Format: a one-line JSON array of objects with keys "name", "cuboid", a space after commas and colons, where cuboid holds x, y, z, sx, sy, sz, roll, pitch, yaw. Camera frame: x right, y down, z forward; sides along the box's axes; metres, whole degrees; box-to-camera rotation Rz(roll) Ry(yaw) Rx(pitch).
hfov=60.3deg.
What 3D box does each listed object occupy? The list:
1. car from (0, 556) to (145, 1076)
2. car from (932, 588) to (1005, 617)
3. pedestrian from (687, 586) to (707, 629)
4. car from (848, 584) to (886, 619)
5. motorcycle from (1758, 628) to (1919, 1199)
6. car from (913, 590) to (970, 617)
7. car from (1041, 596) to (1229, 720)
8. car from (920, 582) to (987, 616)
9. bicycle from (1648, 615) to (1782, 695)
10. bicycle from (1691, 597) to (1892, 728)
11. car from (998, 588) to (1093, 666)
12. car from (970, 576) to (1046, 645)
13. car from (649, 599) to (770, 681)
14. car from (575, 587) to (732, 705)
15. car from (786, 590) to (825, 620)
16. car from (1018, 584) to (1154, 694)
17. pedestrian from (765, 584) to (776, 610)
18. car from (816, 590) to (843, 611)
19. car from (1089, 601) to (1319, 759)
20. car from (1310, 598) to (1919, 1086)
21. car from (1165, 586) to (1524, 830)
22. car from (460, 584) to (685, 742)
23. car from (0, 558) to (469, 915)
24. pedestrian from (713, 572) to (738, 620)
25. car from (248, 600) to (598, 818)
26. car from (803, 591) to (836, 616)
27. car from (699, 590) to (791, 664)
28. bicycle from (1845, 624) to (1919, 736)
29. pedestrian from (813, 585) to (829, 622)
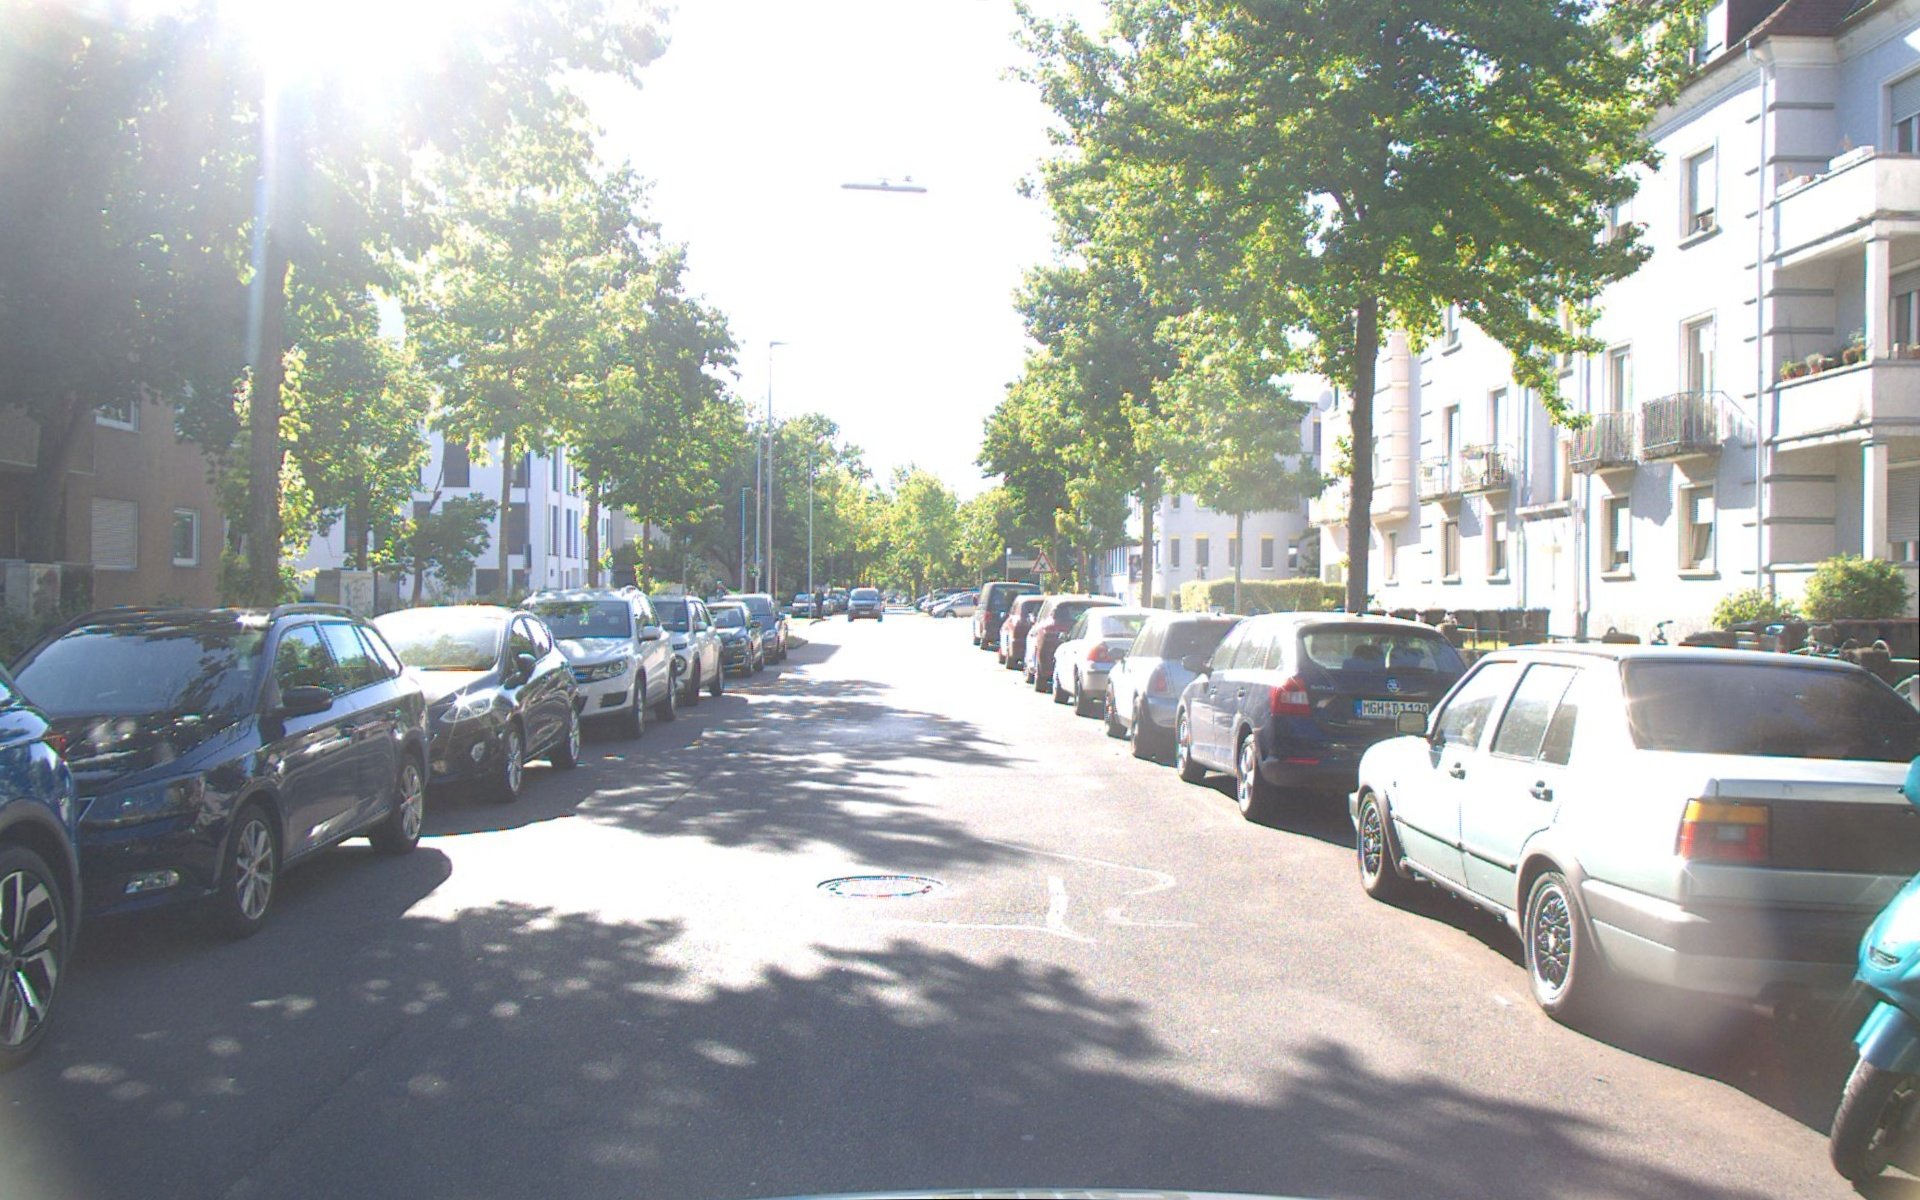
[{"name": "car", "cuboid": [-3.737, 0.704, 3.838, 1.754, 1.594, 4.461, -3, 0, -5]}, {"name": "car", "cuboid": [0.477, 0.111, 92.446, 3.910, 1.615, 1.725, 0, 0, -6]}, {"name": "pedestrian", "cuboid": [-12.744, 0.358, 80.175, 0.842, 2.049, 0.980, 0, 0, -4]}, {"name": "car", "cuboid": [-4.502, 0.070, 80.442, 1.747, 1.637, 3.999, 0, 0, -2]}, {"name": "motorcycle", "cuboid": [3.452, 0.810, 4.457, 2.305, 1.447, 0.687, 0, 0, -3]}, {"name": "car", "cuboid": [-1.358, 0.268, 121.034, 3.913, 1.915, 1.996, 1, 0, -9]}, {"name": "car", "cuboid": [2.363, 0.755, 23.614, 1.859, 1.500, 4.696, 3, 0, -3]}, {"name": "car", "cuboid": [-0.418, -0.072, 100.459, 3.909, 2.049, 1.998, 0, 0, -5]}, {"name": "bicycle", "cuboid": [10.174, 0.737, 22.300, 1.547, 0.988, 0.501, -3, 0, -2]}, {"name": "bicycle", "cuboid": [8.692, 0.615, 17.409, 0.822, 1.279, 2.228, 1, 0, -6]}, {"name": "car", "cuboid": [1.905, 0.574, 37.910, 1.797, 1.628, 4.157, 2, 0, -2]}, {"name": "car", "cuboid": [1.405, 0.302, 50.123, 1.931, 1.983, 4.982, 0, 0, -3]}, {"name": "car", "cuboid": [-4.993, 0.753, 33.531, 1.954, 1.478, 4.260, -2, 0, -3]}, {"name": "car", "cuboid": [-4.508, 0.627, 24.835, 1.675, 1.571, 3.929, -2, 0, -2]}, {"name": "car", "cuboid": [-8.722, 0.260, 93.605, 1.953, 1.700, 3.999, 0, 0, -2]}, {"name": "car", "cuboid": [2.163, 0.629, 29.637, 1.869, 1.728, 4.311, 3, 0, -2]}, {"name": "pedestrian", "cuboid": [-14.600, -0.231, 127.335, 0.843, 2.049, 0.979, 0, 0, -9]}, {"name": "car", "cuboid": [-10.311, 0.059, 130.631, 1.953, 1.613, 3.999, 0, 0, -2]}, {"name": "car", "cuboid": [2.504, 0.774, 17.836, 1.753, 1.478, 3.780, 1, 0, -3]}, {"name": "car", "cuboid": [3.011, 0.787, 7.479, 1.715, 1.479, 4.460, 3, 0, -2]}, {"name": "car", "cuboid": [2.812, 0.694, 13.115, 1.658, 1.567, 4.439, 1, 1, -2]}, {"name": "car", "cuboid": [-4.375, 0.648, 19.294, 1.775, 1.624, 4.231, 0, 0, -3]}, {"name": "car", "cuboid": [-4.105, 0.569, 8.961, 1.793, 1.478, 4.120, -1, 0, -2]}, {"name": "pedestrian", "cuboid": [-10.108, -0.182, 71.386, 0.841, 2.049, 0.982, 0, 0, 6]}, {"name": "car", "cuboid": [-4.213, 0.766, 13.628, 1.727, 1.469, 3.906, -2, 0, -3]}, {"name": "car", "cuboid": [-9.257, 0.214, 108.878, 1.953, 1.613, 3.999, 0, 0, -2]}, {"name": "car", "cuboid": [-5.078, 0.603, 39.601, 1.803, 1.623, 4.260, -2, 0, -3]}, {"name": "bicycle", "cuboid": [8.863, 0.725, 15.014, 0.583, 0.974, 1.903, 0, 0, -2]}, {"name": "pedestrian", "cuboid": [-7.240, 0.193, 86.139, 0.702, 1.933, 0.834, 0, 0, -12]}]
